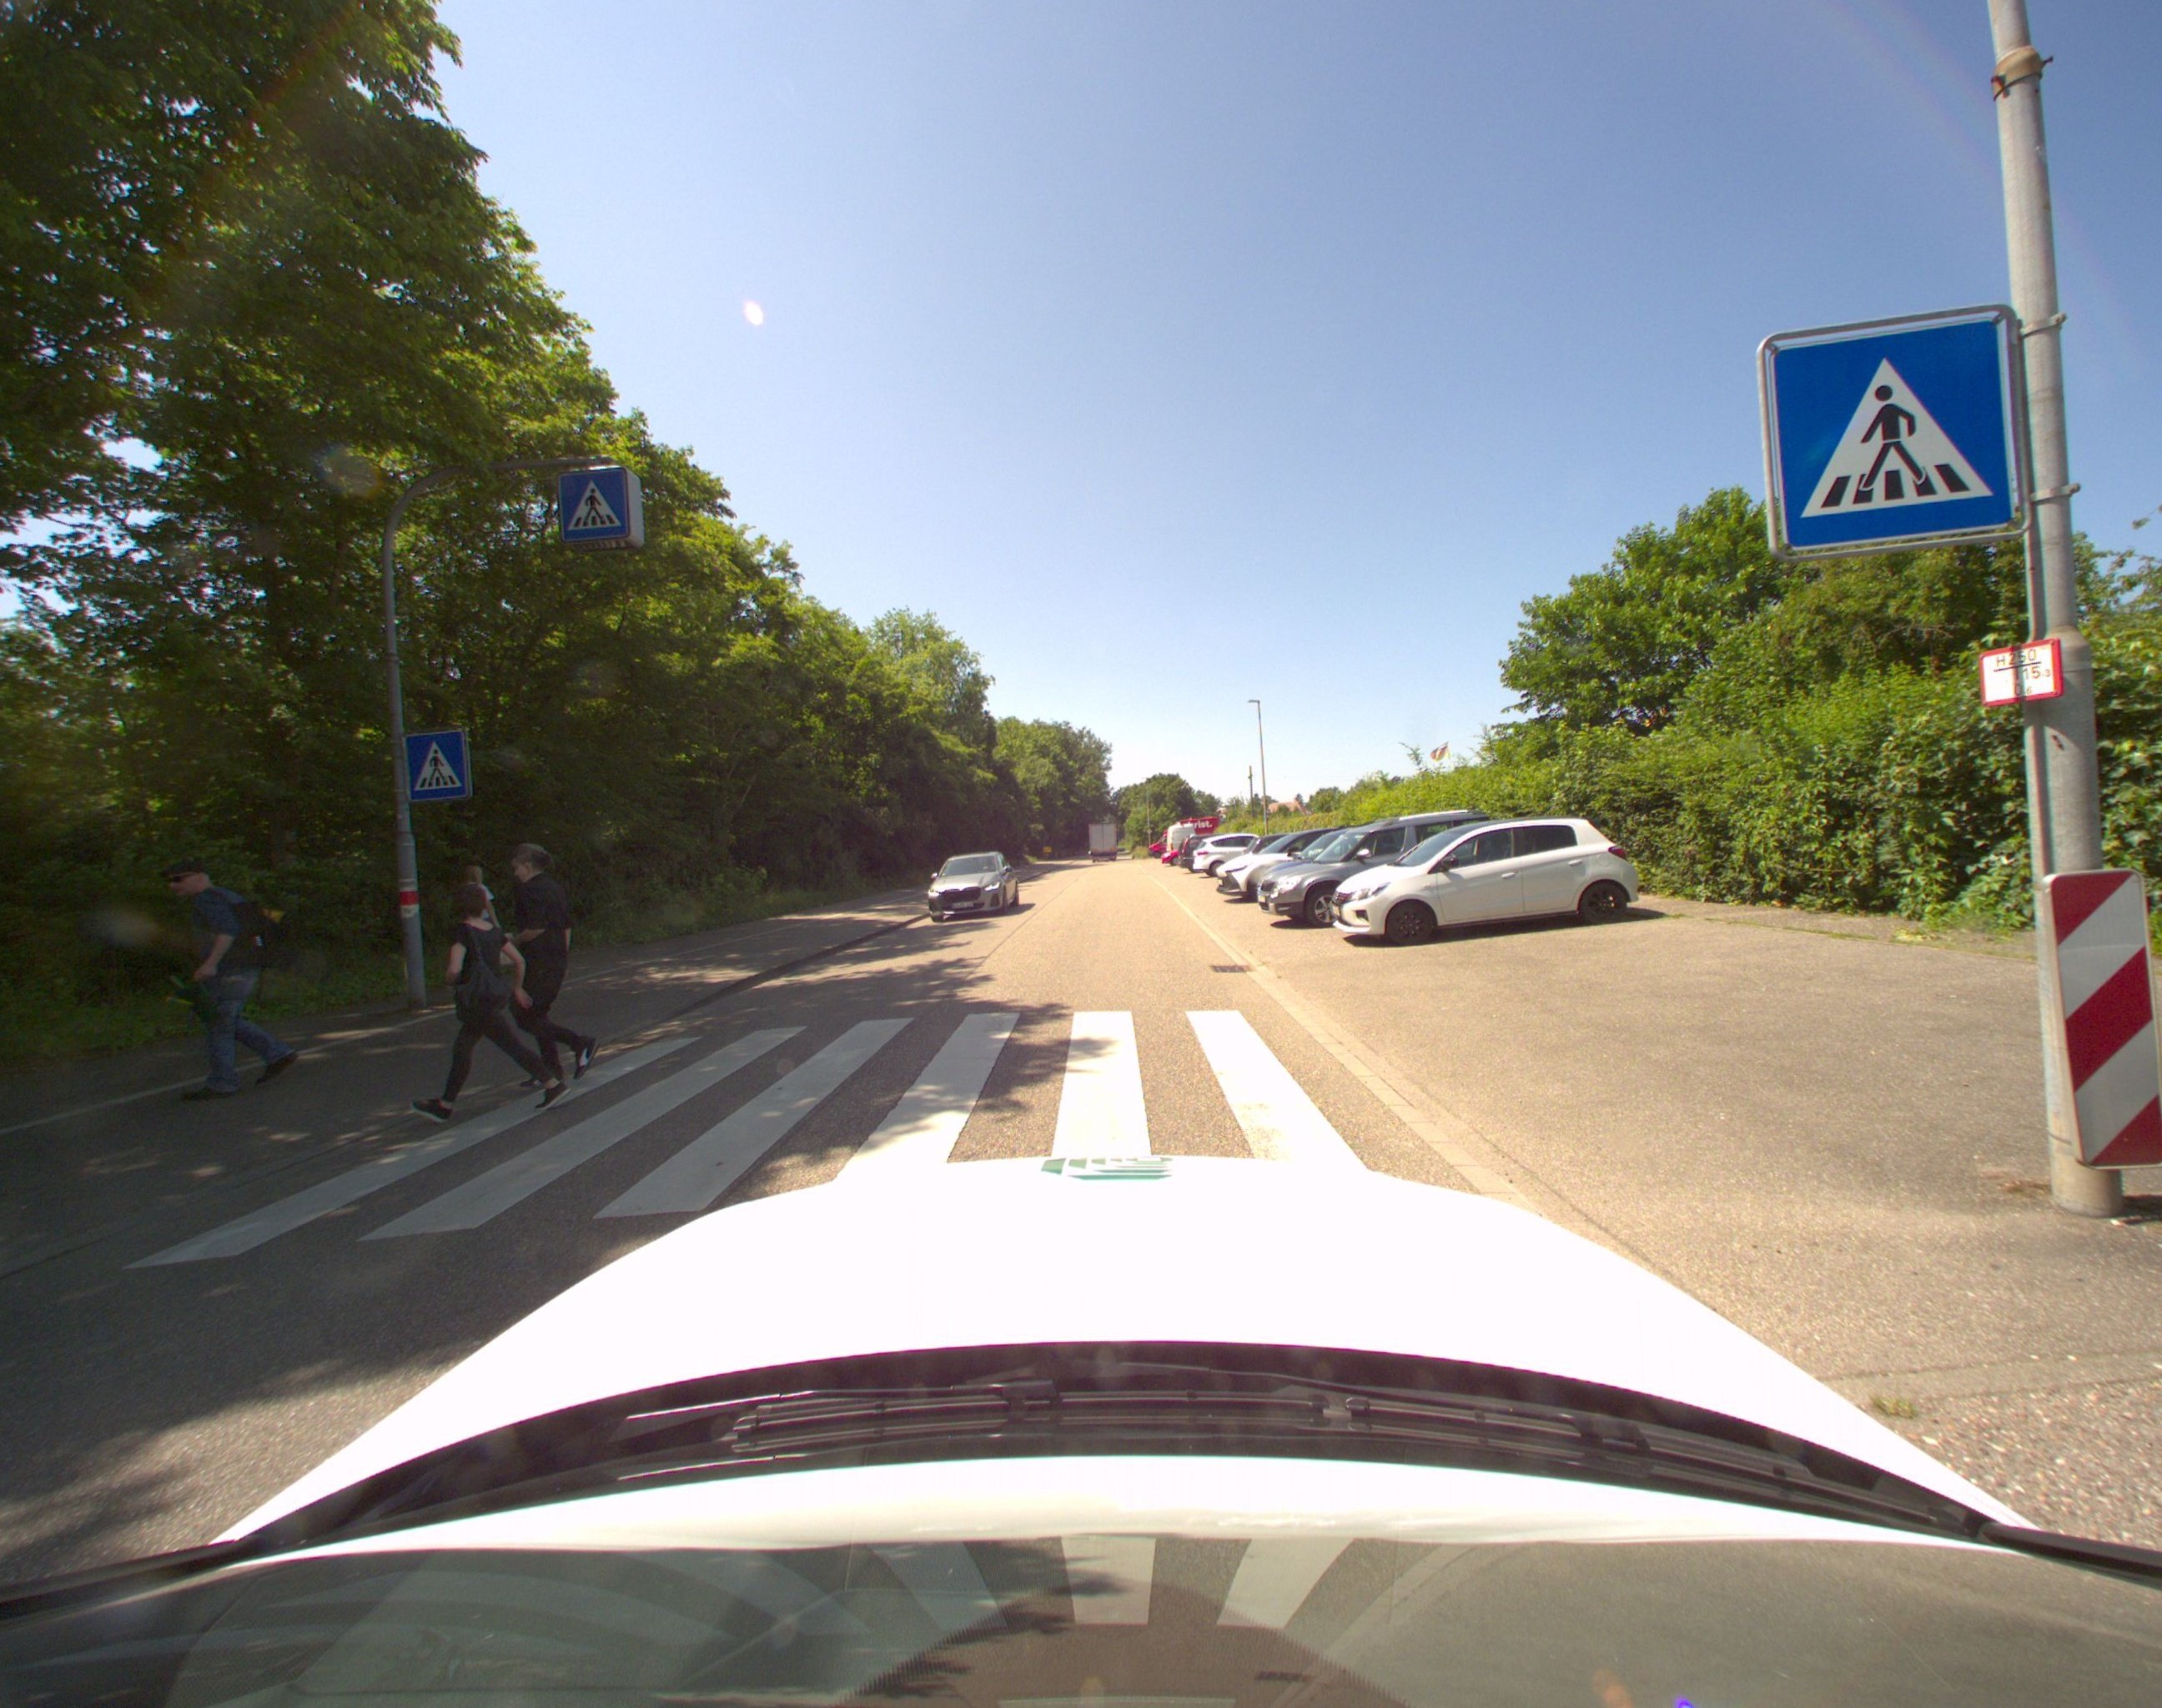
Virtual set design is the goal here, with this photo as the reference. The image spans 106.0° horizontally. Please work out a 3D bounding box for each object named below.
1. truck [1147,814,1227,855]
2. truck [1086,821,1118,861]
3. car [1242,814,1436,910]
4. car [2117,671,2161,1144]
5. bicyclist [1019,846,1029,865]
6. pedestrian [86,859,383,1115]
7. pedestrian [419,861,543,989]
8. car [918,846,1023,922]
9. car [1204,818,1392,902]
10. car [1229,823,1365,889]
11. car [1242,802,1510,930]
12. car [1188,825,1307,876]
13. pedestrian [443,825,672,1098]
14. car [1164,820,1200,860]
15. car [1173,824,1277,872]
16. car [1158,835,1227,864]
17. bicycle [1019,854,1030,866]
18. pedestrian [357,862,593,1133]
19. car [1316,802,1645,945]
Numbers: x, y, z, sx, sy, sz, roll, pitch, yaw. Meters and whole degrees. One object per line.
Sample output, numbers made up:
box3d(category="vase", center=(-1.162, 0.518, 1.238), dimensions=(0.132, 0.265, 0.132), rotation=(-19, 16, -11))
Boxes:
box3d(category="truck", center=(9.933, -1.820, 76.009), dimensions=(7.089, 3.439, 2.338), rotation=(-3, 1, 12))
box3d(category="truck", center=(2.292, -1.304, 83.357), dimensions=(2.722, 3.745, 13.256), rotation=(-2, 1, 3))
box3d(category="car", center=(5.350, 0.148, 17.127), dimensions=(3.445, 1.527, 1.538), rotation=(-7, 1, -4))
box3d(category="car", center=(4.713, 0.250, 0.951), dimensions=(4.437, 1.729, 1.852), rotation=(-5, 0, 2))
box3d(category="bicyclist", center=(-4.933, 0.108, 70.504), dimensions=(0.645, 1.565, 0.838), rotation=(-3, 0, 6))
box3d(category="pedestrian", center=(-6.307, 0.928, 6.159), dimensions=(1.152, 1.751, 1.023), rotation=(1, 1, -2))
box3d(category="pedestrian", center=(-8.090, 0.927, 11.031), dimensions=(0.929, 1.612, 0.886), rotation=(-2, 0, 1))
box3d(category="car", center=(-2.710, 0.672, 20.902), dimensions=(1.884, 1.532, 4.197), rotation=(-7, 1, 1))
box3d(category="car", center=(5.241, 0.123, 19.999), dimensions=(3.955, 1.522, 1.862), rotation=(-7, 1, -4))
box3d(category="car", center=(6.018, 0.032, 22.980), dimensions=(3.371, 1.503, 1.590), rotation=(-5, 1, 5))
box3d(category="car", center=(5.028, 0.176, 14.202), dimensions=(3.953, 1.640, 1.662), rotation=(-7, 1, -4))
box3d(category="car", center=(6.575, -0.150, 32.425), dimensions=(4.263, 1.578, 1.765), rotation=(-6, 1, 0))
box3d(category="pedestrian", center=(-4.007, 0.779, 6.334), dimensions=(1.082, 1.864, 0.782), rotation=(-6, 0, -6))
box3d(category="car", center=(7.607, -1.075, 61.993), dimensions=(1.946, 2.733, 7.174), rotation=(-5, 1, 3))
box3d(category="car", center=(6.791, -0.287, 38.636), dimensions=(4.442, 1.804, 1.951), rotation=(-6, 0, -3))
box3d(category="car", center=(7.009, -0.272, 51.504), dimensions=(4.042, 1.434, 1.835), rotation=(-6, 1, -1))
box3d(category="bicycle", center=(-4.919, 0.502, 70.472), dimensions=(0.558, 1.027, 1.842), rotation=(-3, 1, 6))
box3d(category="pedestrian", center=(-4.040, 0.896, 5.516), dimensions=(0.892, 1.611, 0.779), rotation=(-5, 0, -6))
box3d(category="car", center=(5.351, 0.245, 11.311), dimensions=(3.672, 1.450, 1.612), rotation=(-7, 1, 5))
